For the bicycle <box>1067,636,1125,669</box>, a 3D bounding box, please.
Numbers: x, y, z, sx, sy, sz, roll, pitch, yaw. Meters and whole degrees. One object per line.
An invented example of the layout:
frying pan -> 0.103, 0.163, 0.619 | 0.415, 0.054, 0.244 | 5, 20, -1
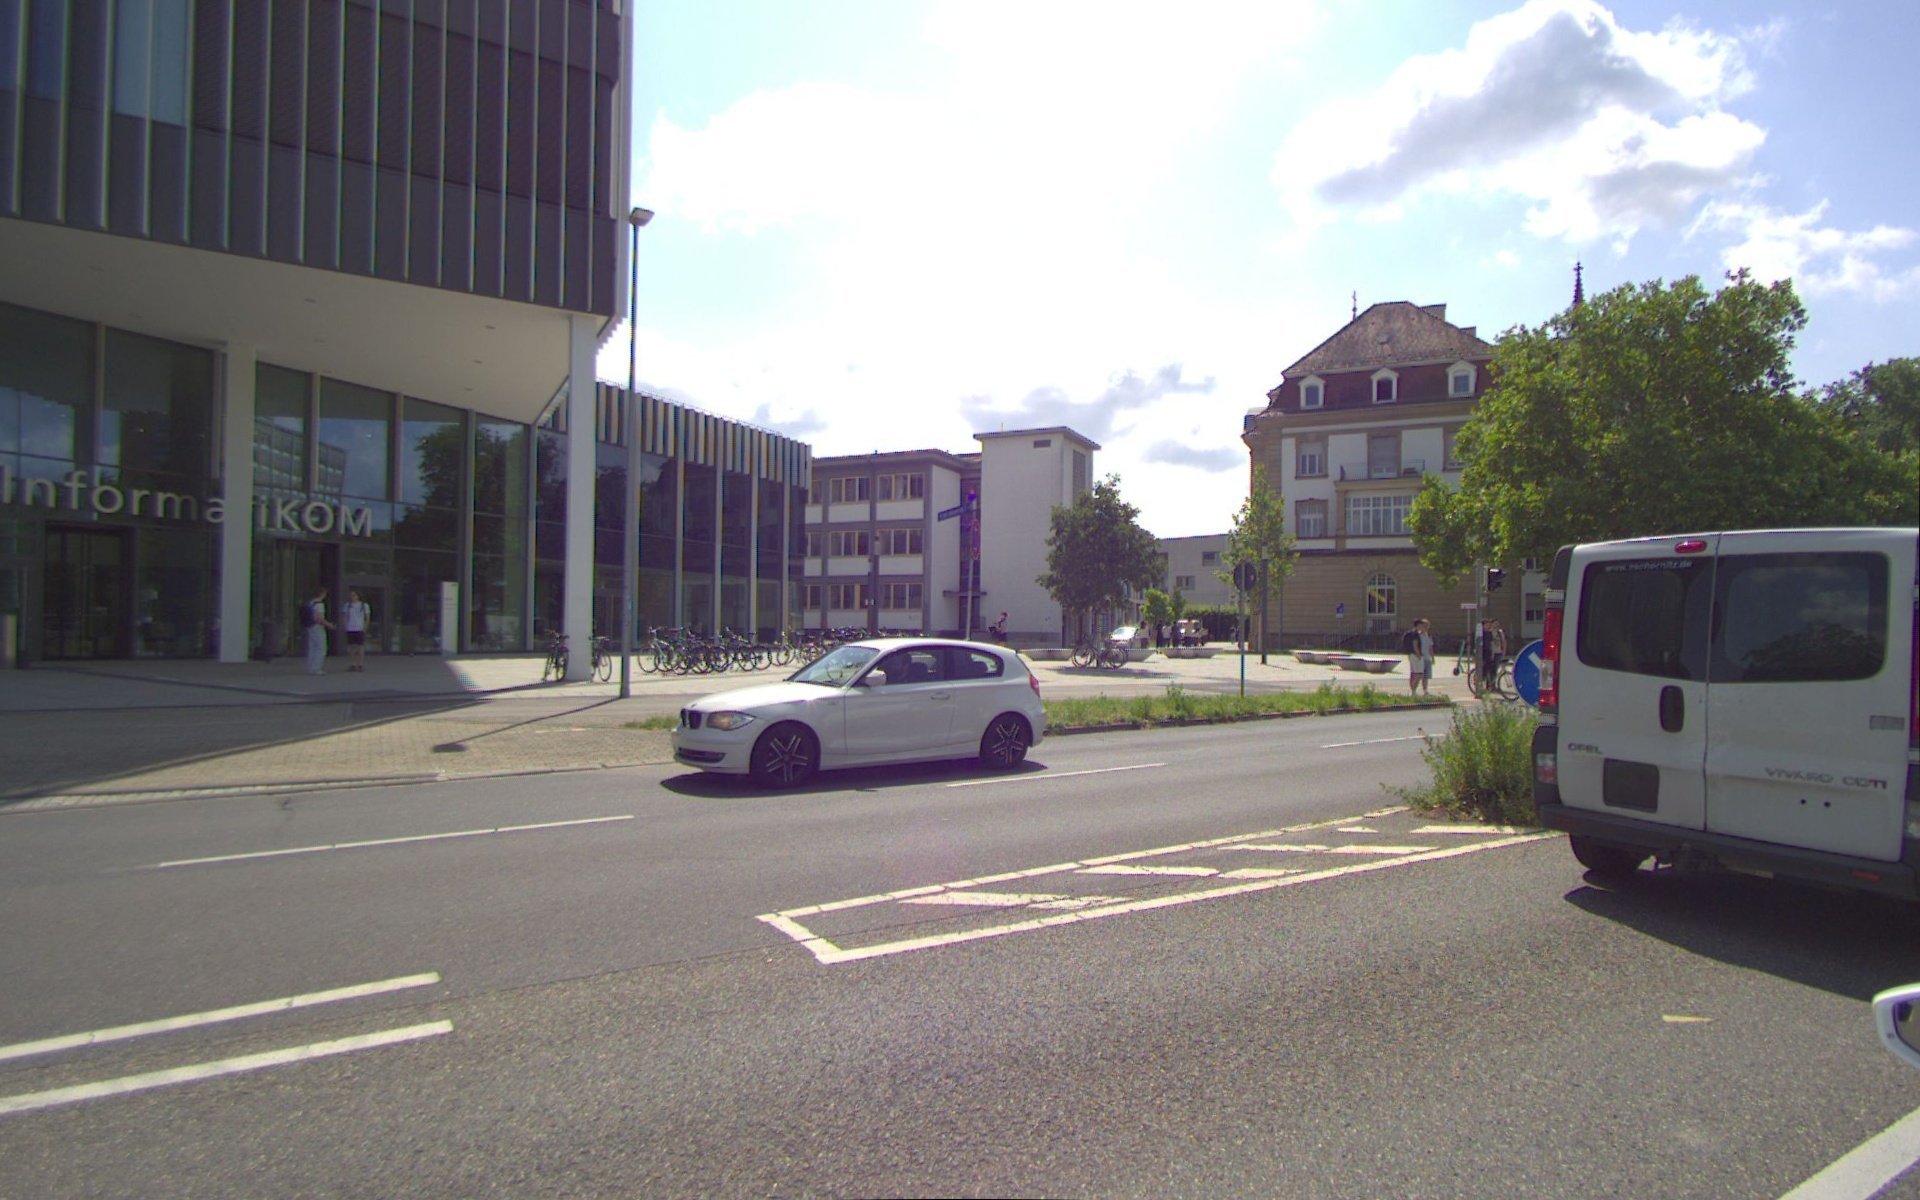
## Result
bicycle -> 4.217, 1.614, 31.188 | 1.737, 0.968, 0.529 | 1, -1, 8

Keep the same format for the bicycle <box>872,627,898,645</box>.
bicycle -> -4.388, 2.113, 58.728 | 0.520, 0.968, 1.770 | 2, -1, 31

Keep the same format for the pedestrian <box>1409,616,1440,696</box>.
pedestrian -> 10.912, 1.310, 23.609 | 0.570, 1.866, 0.411 | 2, -1, -35

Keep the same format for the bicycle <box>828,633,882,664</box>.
bicycle -> -3.555, 1.640, 34.045 | 1.737, 0.968, 0.529 | 1, -1, 14

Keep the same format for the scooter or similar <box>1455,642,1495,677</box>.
scooter or similar -> 16.637, 1.908, 32.441 | 1.131, 1.081, 0.402 | 0, -1, 33

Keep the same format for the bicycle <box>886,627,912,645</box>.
bicycle -> -3.534, 2.090, 58.281 | 0.520, 0.968, 1.770 | 2, -1, 31

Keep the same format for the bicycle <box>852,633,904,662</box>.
bicycle -> -2.926, 1.701, 35.845 | 1.737, 0.968, 0.529 | 1, -1, 8

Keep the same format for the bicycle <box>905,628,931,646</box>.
bicycle -> -2.394, 2.125, 57.668 | 0.520, 0.968, 1.768 | 2, -1, 34

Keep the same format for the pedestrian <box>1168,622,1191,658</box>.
pedestrian -> 11.381, 2.065, 52.153 | 0.852, 1.813, 0.840 | 1, -1, -17

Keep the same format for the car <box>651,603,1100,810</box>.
car -> -0.778, 1.022, 10.986 | 4.685, 1.835, 1.713 | 2, -2, -35

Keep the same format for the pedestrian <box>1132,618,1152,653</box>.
pedestrian -> 9.422, 1.823, 52.010 | 0.800, 1.813, 0.842 | 1, -1, -11

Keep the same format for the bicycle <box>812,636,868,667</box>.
bicycle -> -3.979, 1.708, 33.393 | 1.737, 0.968, 0.529 | 1, -1, 14

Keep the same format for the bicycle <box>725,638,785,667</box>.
bicycle -> -5.886, 1.496, 28.824 | 1.741, 0.774, 0.528 | 1, -1, 28

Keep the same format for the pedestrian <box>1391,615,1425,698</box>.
pedestrian -> 10.261, 1.286, 23.007 | 0.629, 1.866, 0.473 | 2, -1, -45

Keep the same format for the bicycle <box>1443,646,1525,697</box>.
bicycle -> 12.809, 1.733, 24.601 | 0.688, 1.139, 1.655 | 2, 0, -34

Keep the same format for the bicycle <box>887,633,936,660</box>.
bicycle -> -1.811, 1.736, 37.732 | 1.737, 0.968, 0.529 | 1, -1, 8

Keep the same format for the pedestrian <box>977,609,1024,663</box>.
pedestrian -> 1.276, 1.151, 31.939 | 1.003, 1.672, 1.173 | 1, -2, -30

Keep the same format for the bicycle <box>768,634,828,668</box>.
bicycle -> -5.008, 1.562, 31.041 | 1.738, 0.968, 0.529 | 1, -1, 17

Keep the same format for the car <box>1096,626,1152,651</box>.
car -> 9.940, 2.282, 60.541 | 1.963, 1.323, 4.488 | 2, 0, 28

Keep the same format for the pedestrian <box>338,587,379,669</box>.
pedestrian -> -13.957, 0.641, 23.321 | 0.668, 1.866, 0.687 | 2, -1, -23

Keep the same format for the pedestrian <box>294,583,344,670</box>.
pedestrian -> -14.075, 0.582, 22.063 | 0.507, 1.866, 0.789 | 1, 0, 4

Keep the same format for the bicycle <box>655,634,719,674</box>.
bicycle -> -7.223, 1.418, 26.576 | 1.739, 0.968, 0.373 | 1, -1, 21

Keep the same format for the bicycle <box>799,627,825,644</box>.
bicycle -> -8.919, 2.123, 60.484 | 0.520, 0.968, 1.770 | 2, -1, 31

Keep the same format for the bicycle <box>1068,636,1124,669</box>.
bicycle -> 4.302, 1.645, 31.777 | 1.737, 0.968, 0.529 | 1, -1, 8

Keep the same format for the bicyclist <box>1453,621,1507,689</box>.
bicyclist -> 12.770, 1.333, 24.661 | 0.650, 1.637, 0.990 | 1, -1, -33

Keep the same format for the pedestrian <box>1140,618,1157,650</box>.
pedestrian -> 10.942, 1.986, 58.273 | 0.666, 1.813, 0.840 | 0, -1, 37

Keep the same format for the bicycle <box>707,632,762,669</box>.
bicycle -> -6.332, 1.395, 28.145 | 1.747, 0.968, 0.526 | 0, -1, 40

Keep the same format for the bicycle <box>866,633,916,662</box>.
bicycle -> -2.505, 1.721, 36.519 | 1.737, 0.968, 0.529 | 1, -1, 8

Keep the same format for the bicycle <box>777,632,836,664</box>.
bicycle -> -4.856, 1.514, 31.778 | 1.738, 0.968, 0.529 | 1, -1, 17

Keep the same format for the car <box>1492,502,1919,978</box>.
car -> 5.789, 0.645, 6.247 | 5.133, 1.981, 1.996 | 1, -1, -30

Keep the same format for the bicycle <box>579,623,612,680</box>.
bicycle -> -8.333, 1.154, 22.943 | 0.369, 1.203, 1.533 | 3, 0, -31

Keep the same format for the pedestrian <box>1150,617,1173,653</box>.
pedestrian -> 10.426, 1.814, 52.024 | 0.877, 1.813, 0.841 | 1, -1, -14

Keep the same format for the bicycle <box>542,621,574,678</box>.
bicycle -> -9.068, 1.093, 22.629 | 0.369, 1.203, 1.533 | 3, 0, -31

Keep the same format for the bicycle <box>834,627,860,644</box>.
bicycle -> -6.740, 2.128, 59.805 | 0.520, 0.968, 1.770 | 2, -1, 31

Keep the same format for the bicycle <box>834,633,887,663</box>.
bicycle -> -3.448, 1.658, 34.861 | 1.737, 0.968, 0.529 | 1, -1, 14

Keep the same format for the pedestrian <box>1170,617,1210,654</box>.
pedestrian -> 10.384, 1.604, 45.405 | 1.279, 1.673, 1.321 | 1, -1, -18

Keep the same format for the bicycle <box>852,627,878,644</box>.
bicycle -> -5.591, 2.122, 59.203 | 0.520, 0.968, 1.770 | 2, -1, 31

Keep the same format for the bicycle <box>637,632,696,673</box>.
bicycle -> -7.506, 1.334, 25.671 | 1.516, 0.968, 0.373 | 1, -1, 21
